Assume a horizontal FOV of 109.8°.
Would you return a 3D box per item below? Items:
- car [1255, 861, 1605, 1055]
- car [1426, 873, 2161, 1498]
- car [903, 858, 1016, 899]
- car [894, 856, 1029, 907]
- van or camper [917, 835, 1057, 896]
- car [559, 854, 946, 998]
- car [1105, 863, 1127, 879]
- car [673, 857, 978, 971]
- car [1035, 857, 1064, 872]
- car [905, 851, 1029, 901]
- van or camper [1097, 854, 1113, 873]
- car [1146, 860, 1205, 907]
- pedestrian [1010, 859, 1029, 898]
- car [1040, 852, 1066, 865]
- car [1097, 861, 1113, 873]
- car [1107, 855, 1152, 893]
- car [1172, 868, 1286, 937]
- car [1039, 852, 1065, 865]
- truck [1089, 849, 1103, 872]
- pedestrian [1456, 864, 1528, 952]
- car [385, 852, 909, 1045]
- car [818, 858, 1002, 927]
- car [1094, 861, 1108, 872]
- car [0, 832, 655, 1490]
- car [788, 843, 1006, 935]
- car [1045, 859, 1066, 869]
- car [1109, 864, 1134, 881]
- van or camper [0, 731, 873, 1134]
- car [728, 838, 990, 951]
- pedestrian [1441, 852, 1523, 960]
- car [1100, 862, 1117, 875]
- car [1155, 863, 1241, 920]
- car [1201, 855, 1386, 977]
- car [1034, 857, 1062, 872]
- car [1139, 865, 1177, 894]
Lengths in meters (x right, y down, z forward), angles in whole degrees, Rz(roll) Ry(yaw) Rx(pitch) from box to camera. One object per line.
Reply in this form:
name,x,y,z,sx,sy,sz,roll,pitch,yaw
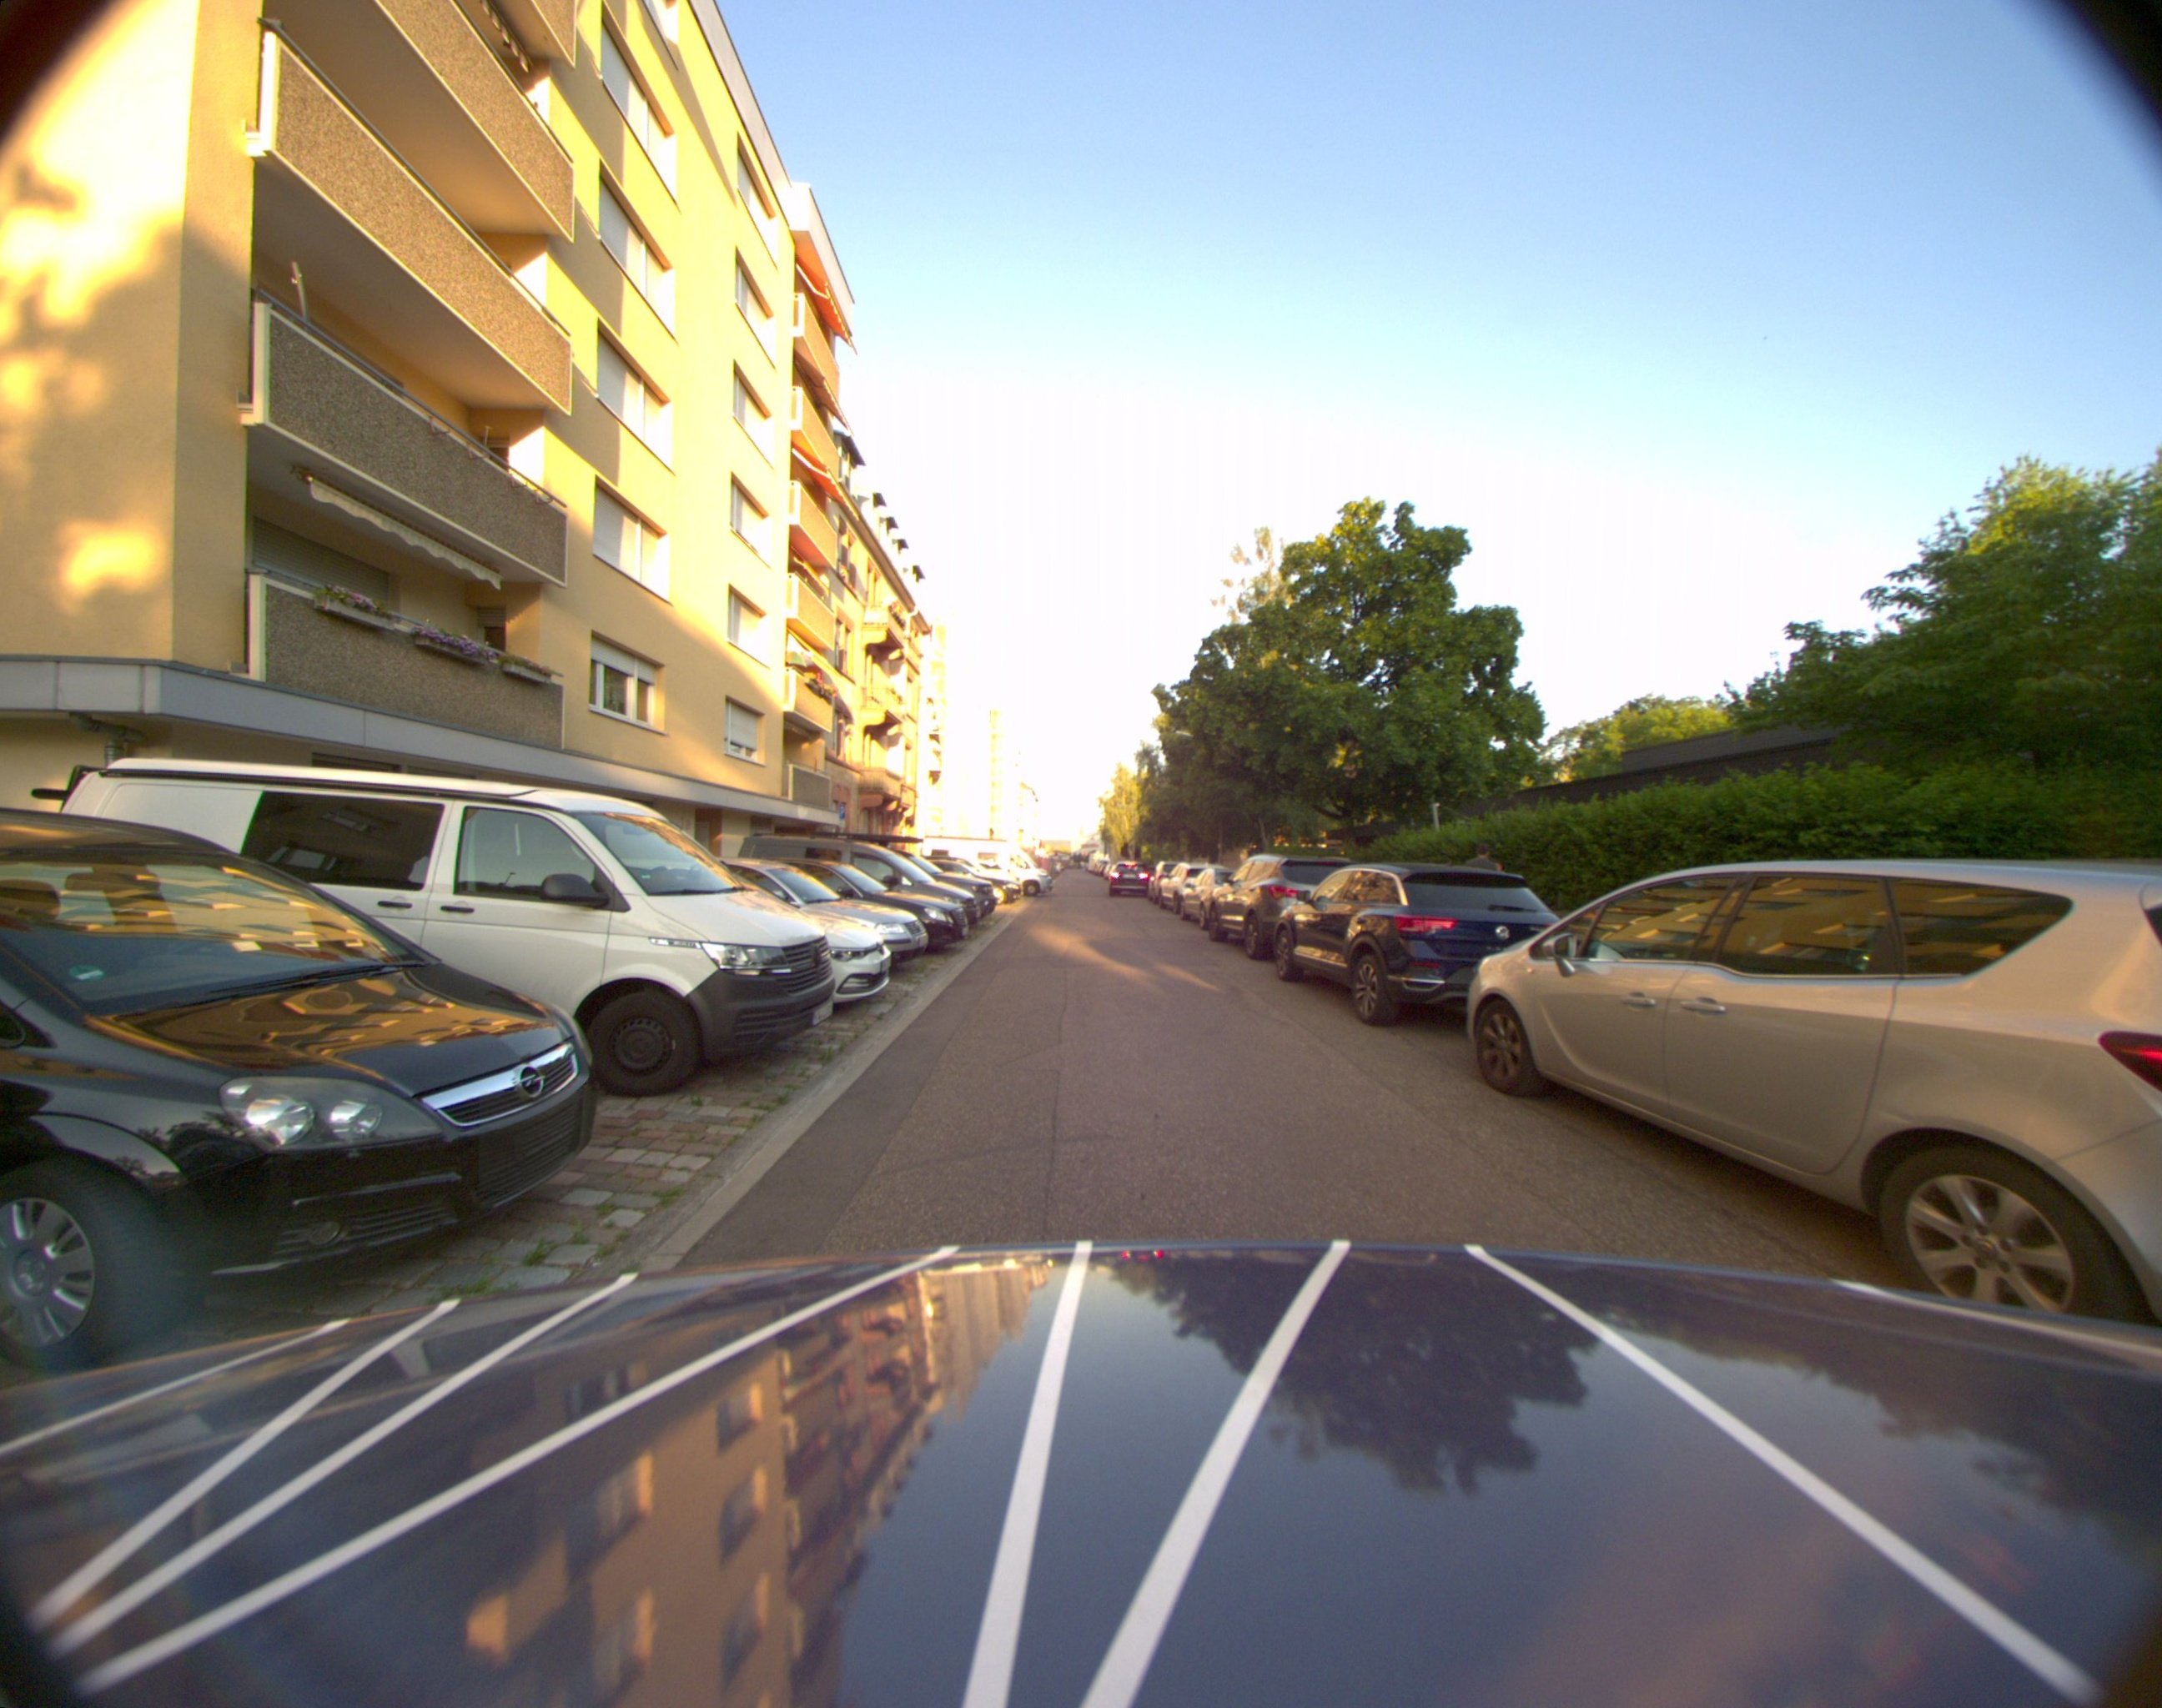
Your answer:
car,3.388,0.892,8.395,1.738,1.558,4.166,2,-1,-3
car,3.601,0.935,3.701,1.738,1.558,4.129,2,-1,-3
car,-5.058,0.992,32.032,4.414,1.610,1.845,0,2,1
car,-4.157,0.939,26.935,4.414,1.545,1.845,2,2,0
van or camper,-4.239,0.523,34.893,6.075,2.489,2.050,2,0,0
car,-4.229,0.896,10.319,4.415,1.584,1.845,2,2,-1
car,3.272,1.550,71.441,1.738,1.358,4.291,2,-1,-1
car,-4.070,0.936,12.636,4.415,1.554,1.845,2,2,-1
car,-4.341,1.485,106.554,3.997,2.002,2.000,0,0,-1
car,-4.347,0.840,29.504,4.413,1.738,1.846,2,0,3
van or camper,3.127,1.297,101.042,1.825,2.400,4.291,2,-1,-1
car,3.538,1.067,29.152,1.738,1.621,3.981,2,-1,0
pedestrian,-2.706,1.064,33.376,0.748,1.692,0.558,-2,0,-4
car,-4.441,0.762,120.762,3.997,2.002,2.000,0,0,-1
car,3.041,1.642,95.649,1.738,1.502,4.291,2,-1,-1
car,2.308,0.907,35.207,1.736,1.621,4.129,2,-1,8
car,3.516,1.106,18.853,1.738,1.418,4.286,2,-1,-3
car,-4.487,0.639,117.584,3.997,2.002,2.000,0,0,-1
truck,2.540,1.056,127.673,2.183,3.860,4.926,0,0,0
pedestrian,7.365,0.947,13.657,0.750,1.499,0.902,-2,0,-2
car,-4.253,0.886,7.998,4.415,1.622,1.845,2,2,-1
car,-4.445,0.975,20.229,4.414,1.545,1.845,2,2,2
car,2.886,1.803,110.247,1.738,1.502,4.291,2,-1,-1
car,-4.329,0.797,2.878,4.338,1.652,1.780,3,2,-3
car,-4.111,0.774,17.537,4.524,1.852,1.845,2,0,-1
car,-4.997,1.975,150.027,3.997,2.002,2.000,0,0,-1
car,3.325,1.517,62.996,1.738,1.358,3.804,2,-1,-1
van or camper,-4.466,0.493,5.676,5.147,2.155,2.040,4,0,-2
car,-4.273,0.740,15.192,4.649,1.970,1.845,2,2,-1
pedestrian,6.699,0.851,12.719,0.901,1.722,0.750,-2,0,-2
car,3.183,1.706,89.674,1.738,1.358,4.291,2,-1,-1
car,3.543,1.091,23.721,1.764,1.533,4.279,2,-1,-3
car,3.421,0.919,13.147,1.738,1.720,4.322,2,-1,-3
car,-4.717,1.496,109.098,3.997,2.002,2.000,0,0,-1
car,4.041,1.319,40.248,1.624,1.417,3.416,2,-1,0
